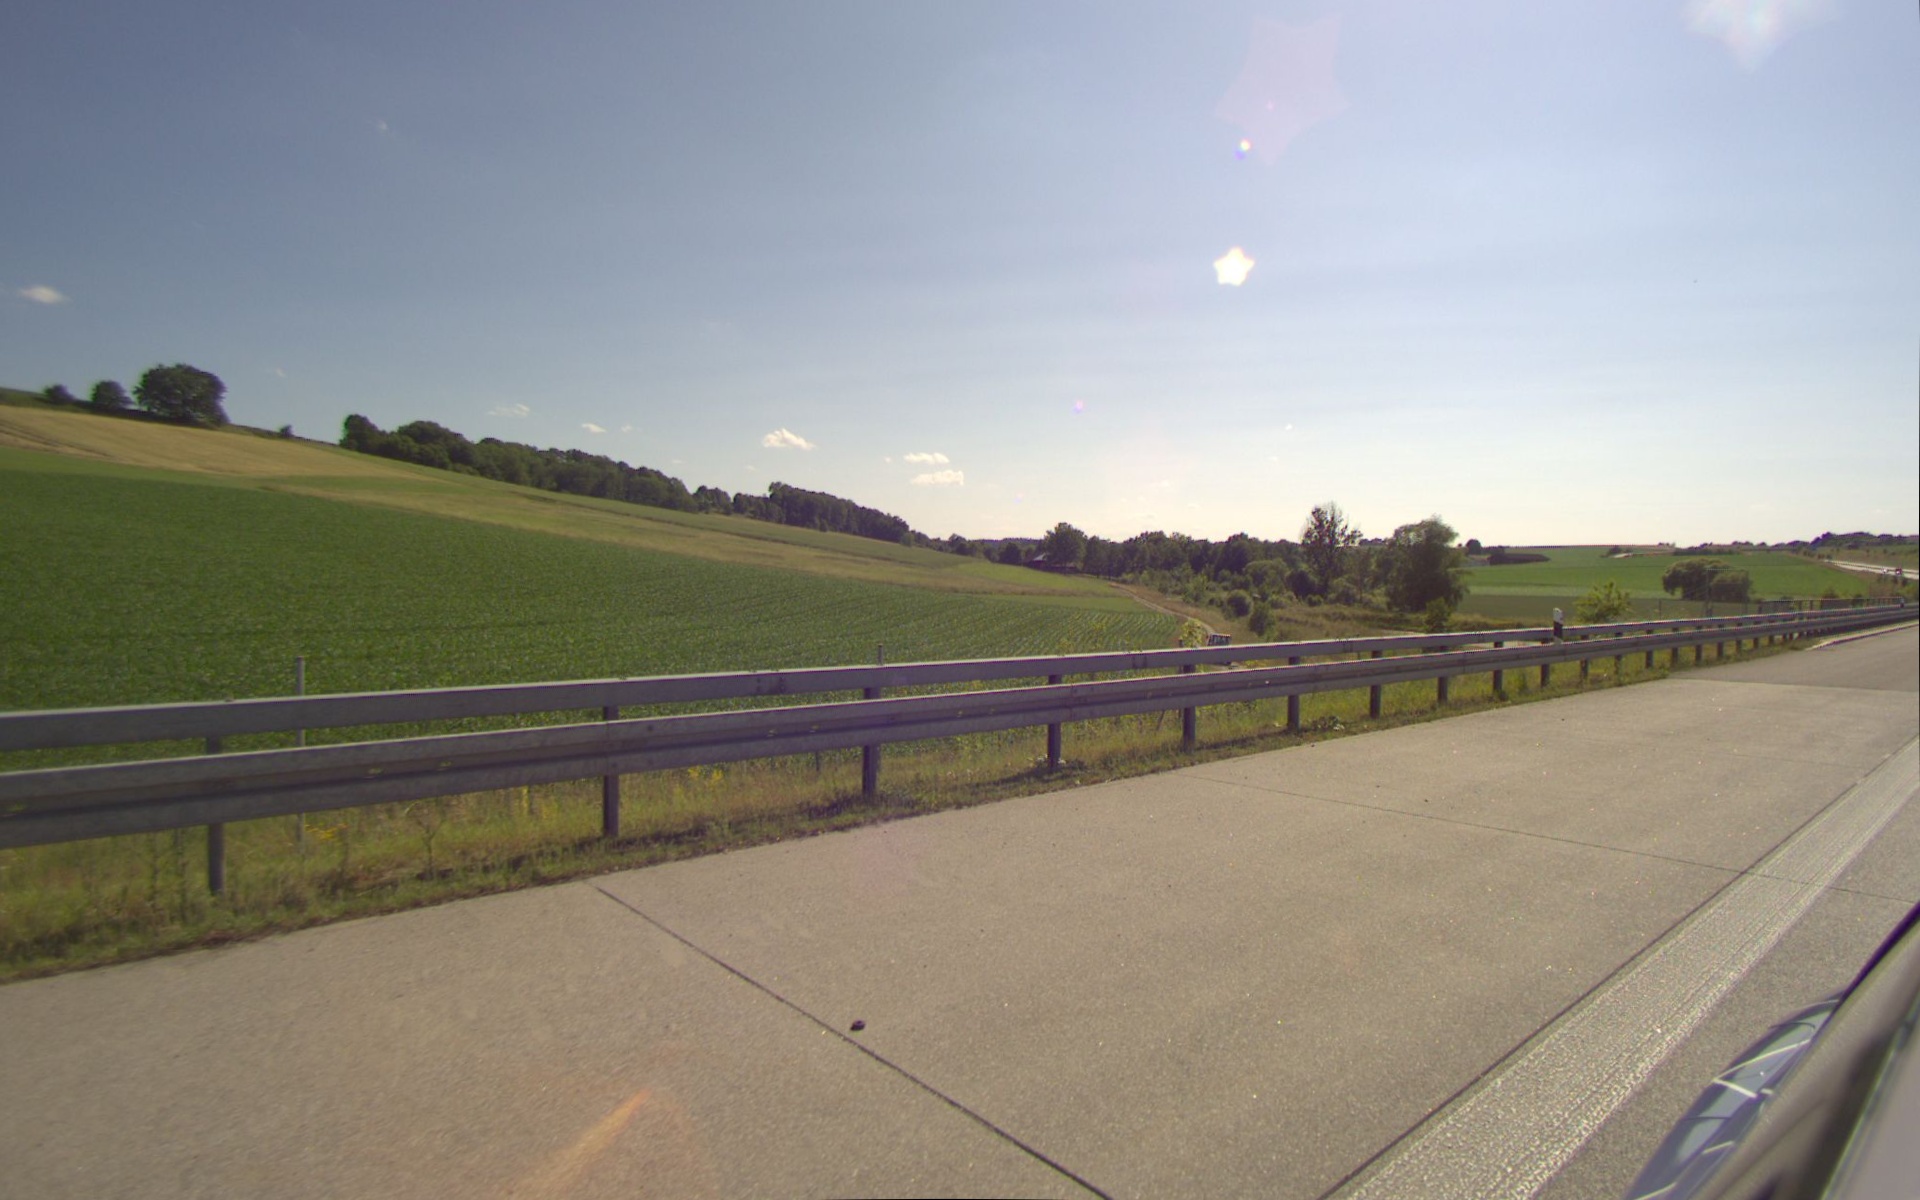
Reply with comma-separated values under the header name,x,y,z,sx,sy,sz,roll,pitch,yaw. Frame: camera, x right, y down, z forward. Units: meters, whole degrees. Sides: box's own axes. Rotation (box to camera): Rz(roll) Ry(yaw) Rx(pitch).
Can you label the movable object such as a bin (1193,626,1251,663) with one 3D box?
name,x,y,z,sx,sy,sz,roll,pitch,yaw
movable object such as a bin,23.372,3.933,90.527,3.222,2.805,6.236,-2,1,-2
